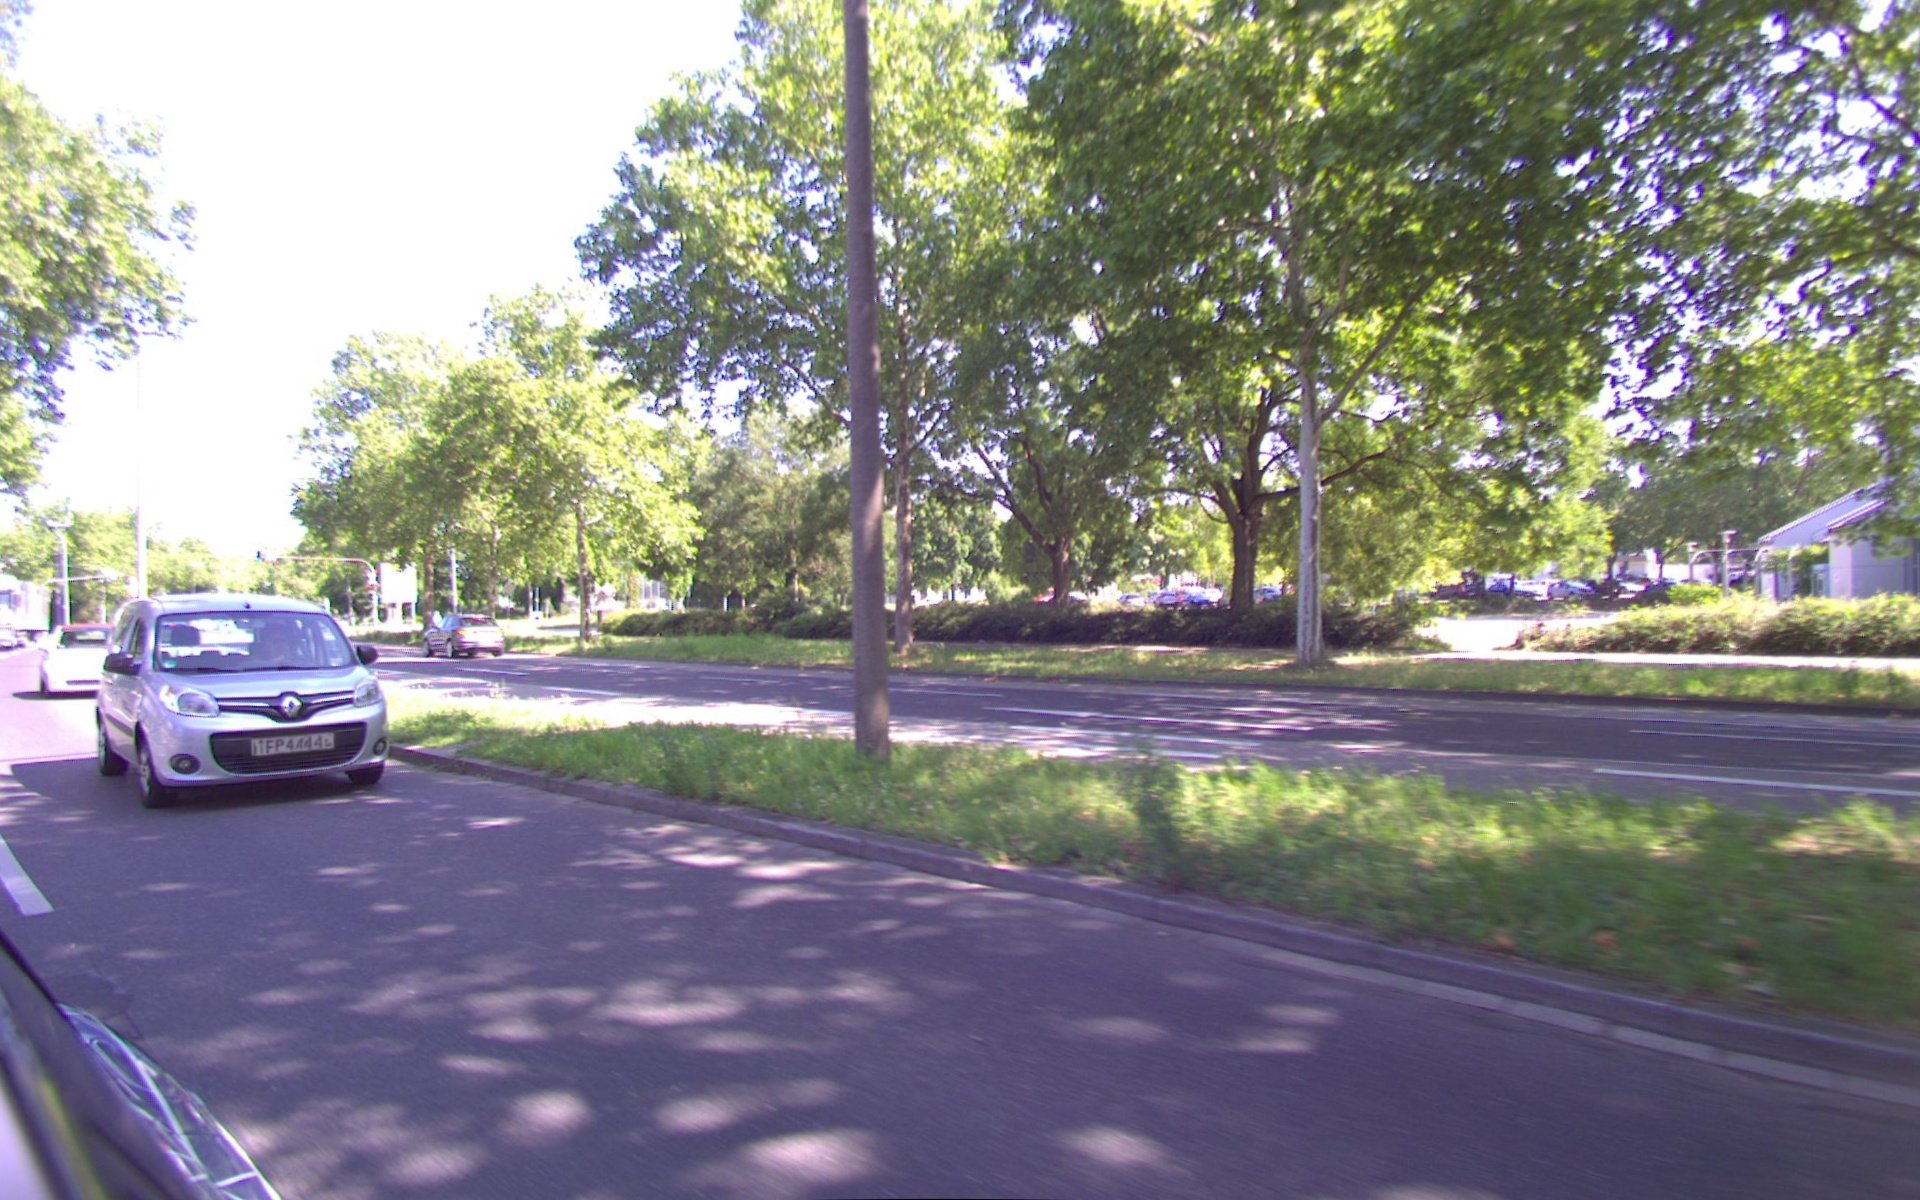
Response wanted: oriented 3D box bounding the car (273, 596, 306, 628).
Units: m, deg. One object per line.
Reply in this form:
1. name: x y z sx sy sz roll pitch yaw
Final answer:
1. car: -58.379 1.035 88.189 2.032 2.633 7.239 0 -1 -31

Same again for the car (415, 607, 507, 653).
1. car: -18.434 1.079 37.300 1.774 1.568 4.399 0 -1 -44

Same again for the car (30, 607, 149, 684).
1. car: -18.792 0.953 21.787 1.665 1.502 4.379 2 -3 -44

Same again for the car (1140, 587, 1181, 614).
1. car: 15.851 0.026 80.122 1.788 2.029 4.009 -1 0 -11

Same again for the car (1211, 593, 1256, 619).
1. car: 21.802 0.465 80.837 1.788 2.029 4.009 -1 0 -11

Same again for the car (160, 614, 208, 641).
1. car: -46.162 1.614 60.276 1.670 1.519 4.142 -1 0 -29

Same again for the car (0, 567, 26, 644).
1. car: -52.297 0.332 54.291 2.859 3.950 7.153 -1 0 -40

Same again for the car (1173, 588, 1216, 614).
1. car: 18.527 0.081 80.116 1.788 2.029 4.009 -1 0 -11

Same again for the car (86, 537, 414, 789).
1. car: -6.944 0.543 9.693 1.850 1.854 4.378 2 -3 -45
